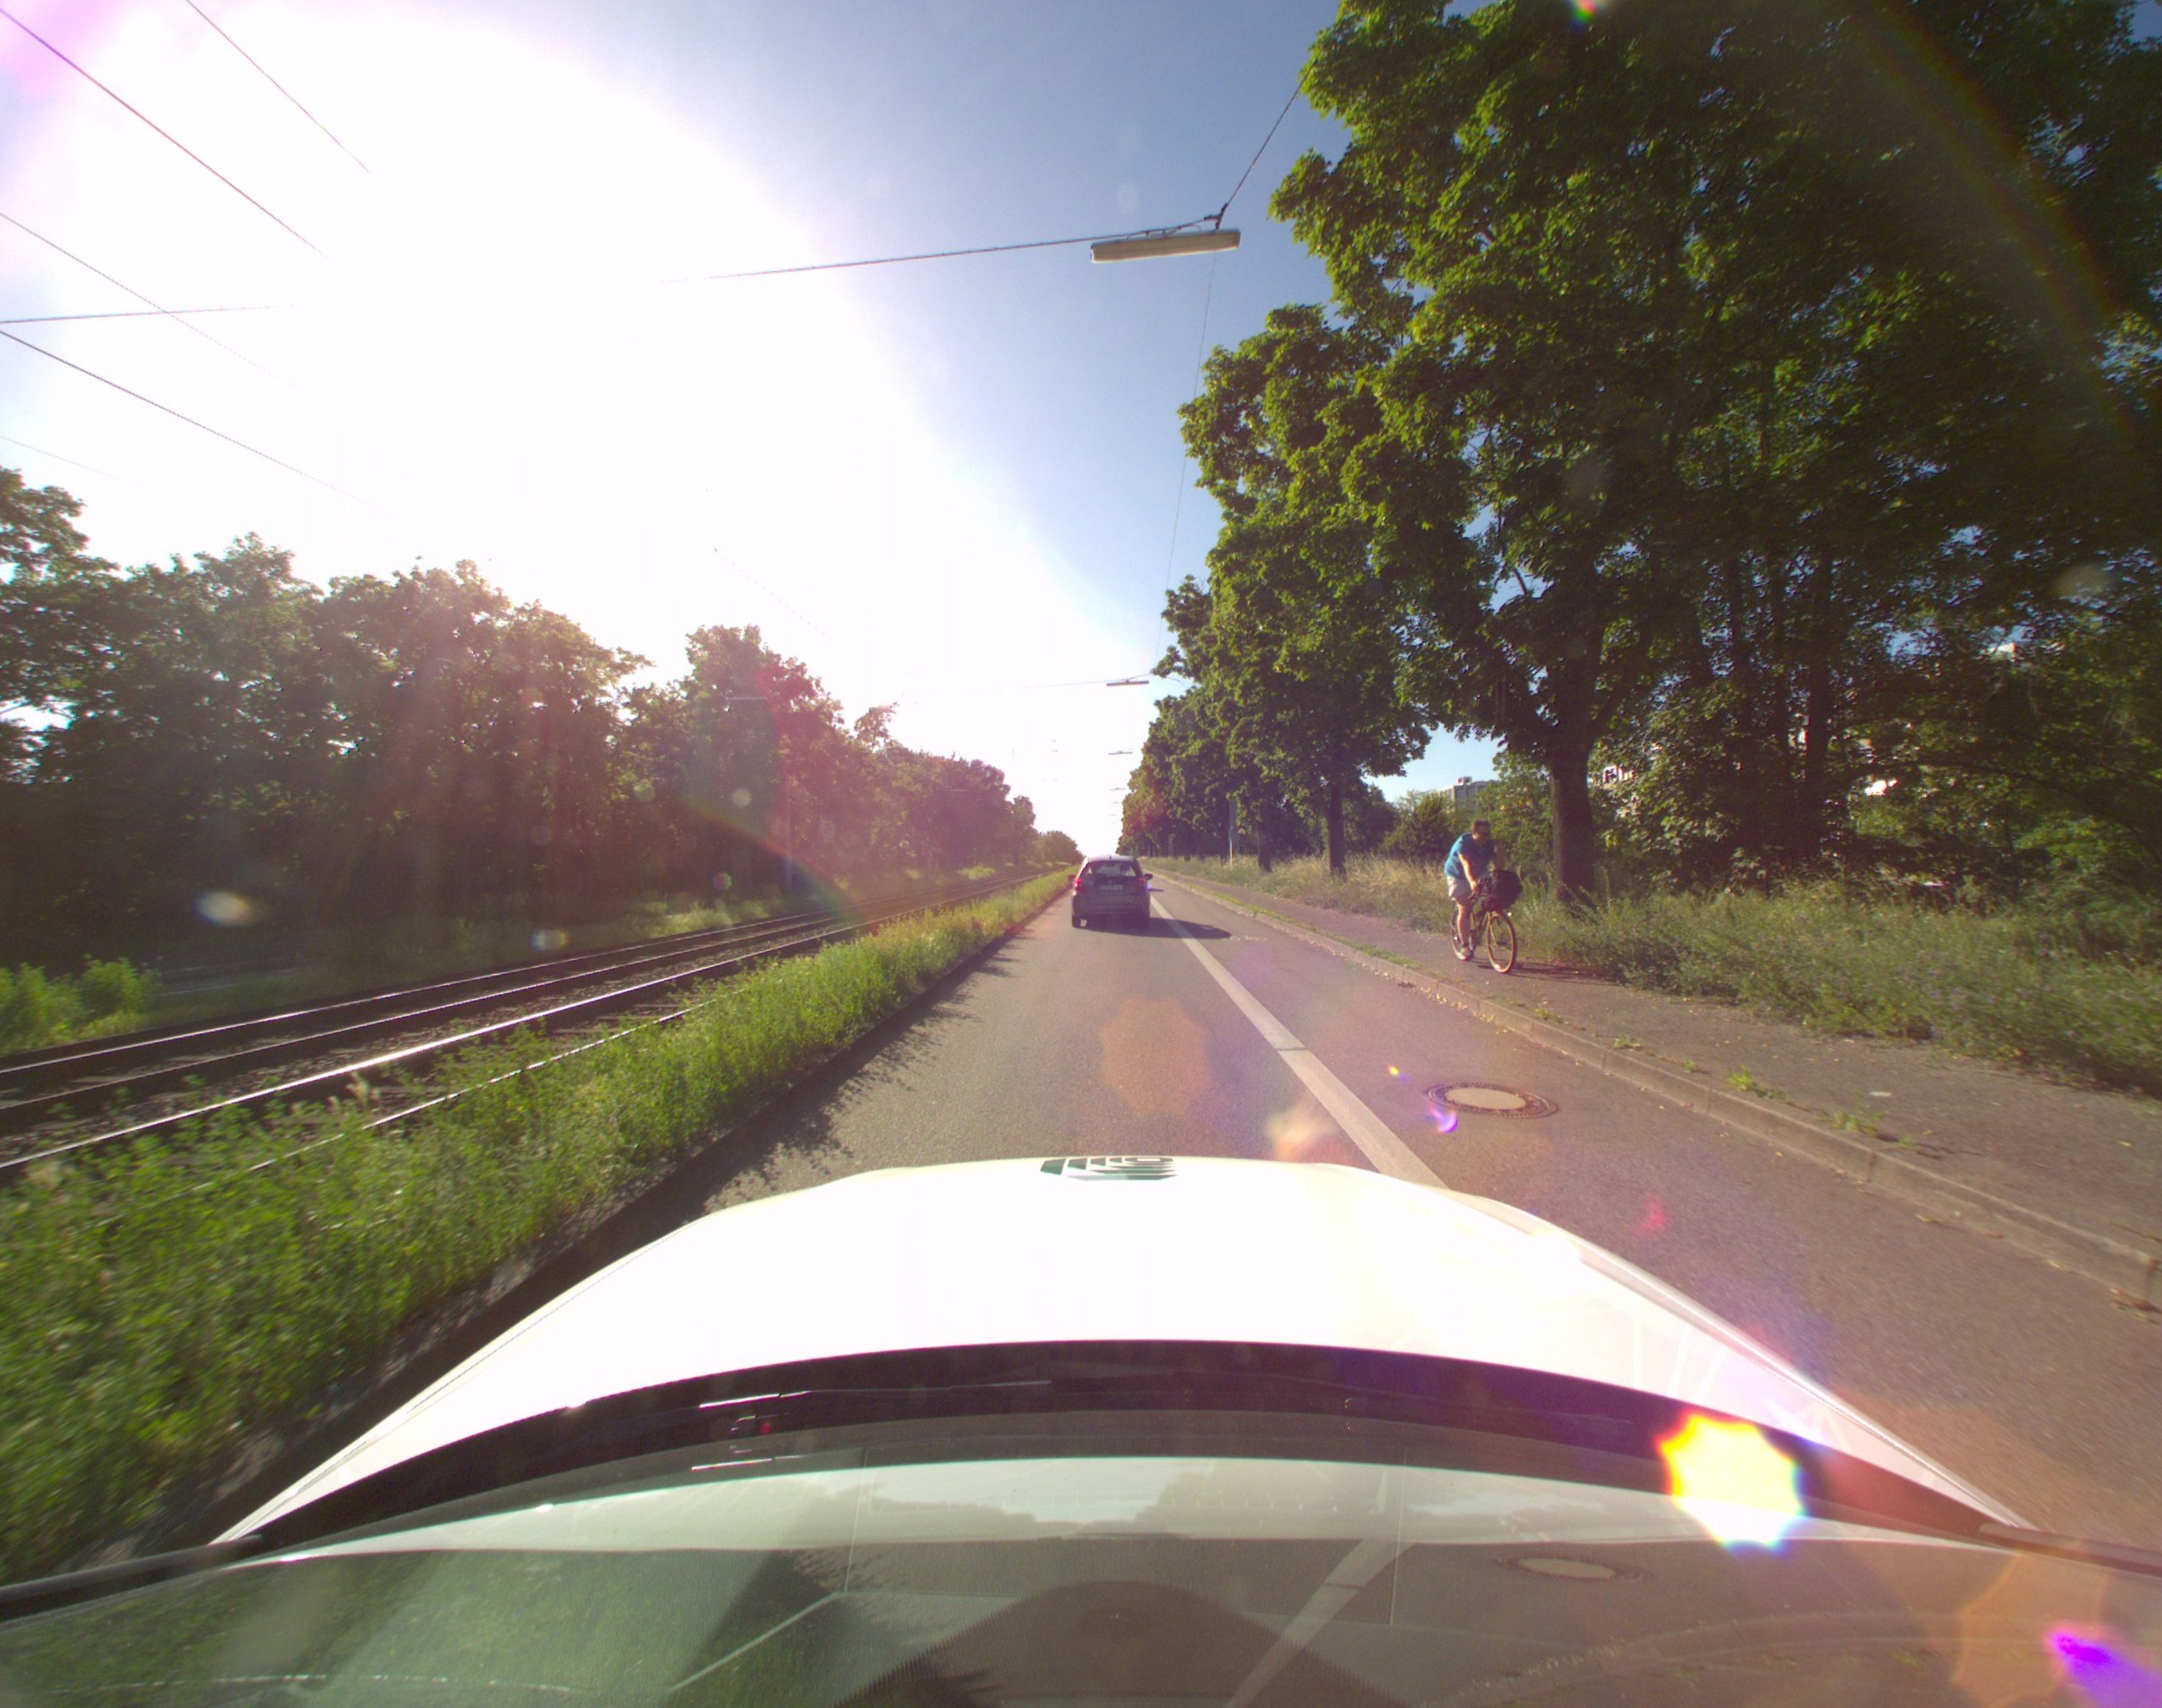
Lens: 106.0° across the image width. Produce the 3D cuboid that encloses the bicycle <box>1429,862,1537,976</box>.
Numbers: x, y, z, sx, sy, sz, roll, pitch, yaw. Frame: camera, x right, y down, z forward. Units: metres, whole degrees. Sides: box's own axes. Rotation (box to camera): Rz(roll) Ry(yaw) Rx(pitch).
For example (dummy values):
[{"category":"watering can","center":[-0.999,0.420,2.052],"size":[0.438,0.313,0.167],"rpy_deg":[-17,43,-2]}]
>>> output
[{"category":"bicycle","center":[4.662,0.704,9.555],"size":[0.417,1.188,1.722],"rpy_deg":[-2,0,1]}]

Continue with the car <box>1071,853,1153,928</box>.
[{"category":"car","center":[0.666,0.740,18.488],"size":[1.665,1.515,3.674],"rpy_deg":[0,0,1]}]

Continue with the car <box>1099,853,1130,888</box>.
[{"category":"car","center":[1.534,0.762,37.777],"size":[1.346,1.528,3.124],"rpy_deg":[-2,-1,2]}]

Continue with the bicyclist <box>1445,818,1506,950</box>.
[{"category":"bicyclist","center":[4.659,0.347,9.638],"size":[0.404,1.507,0.575],"rpy_deg":[-2,0,1]}]
